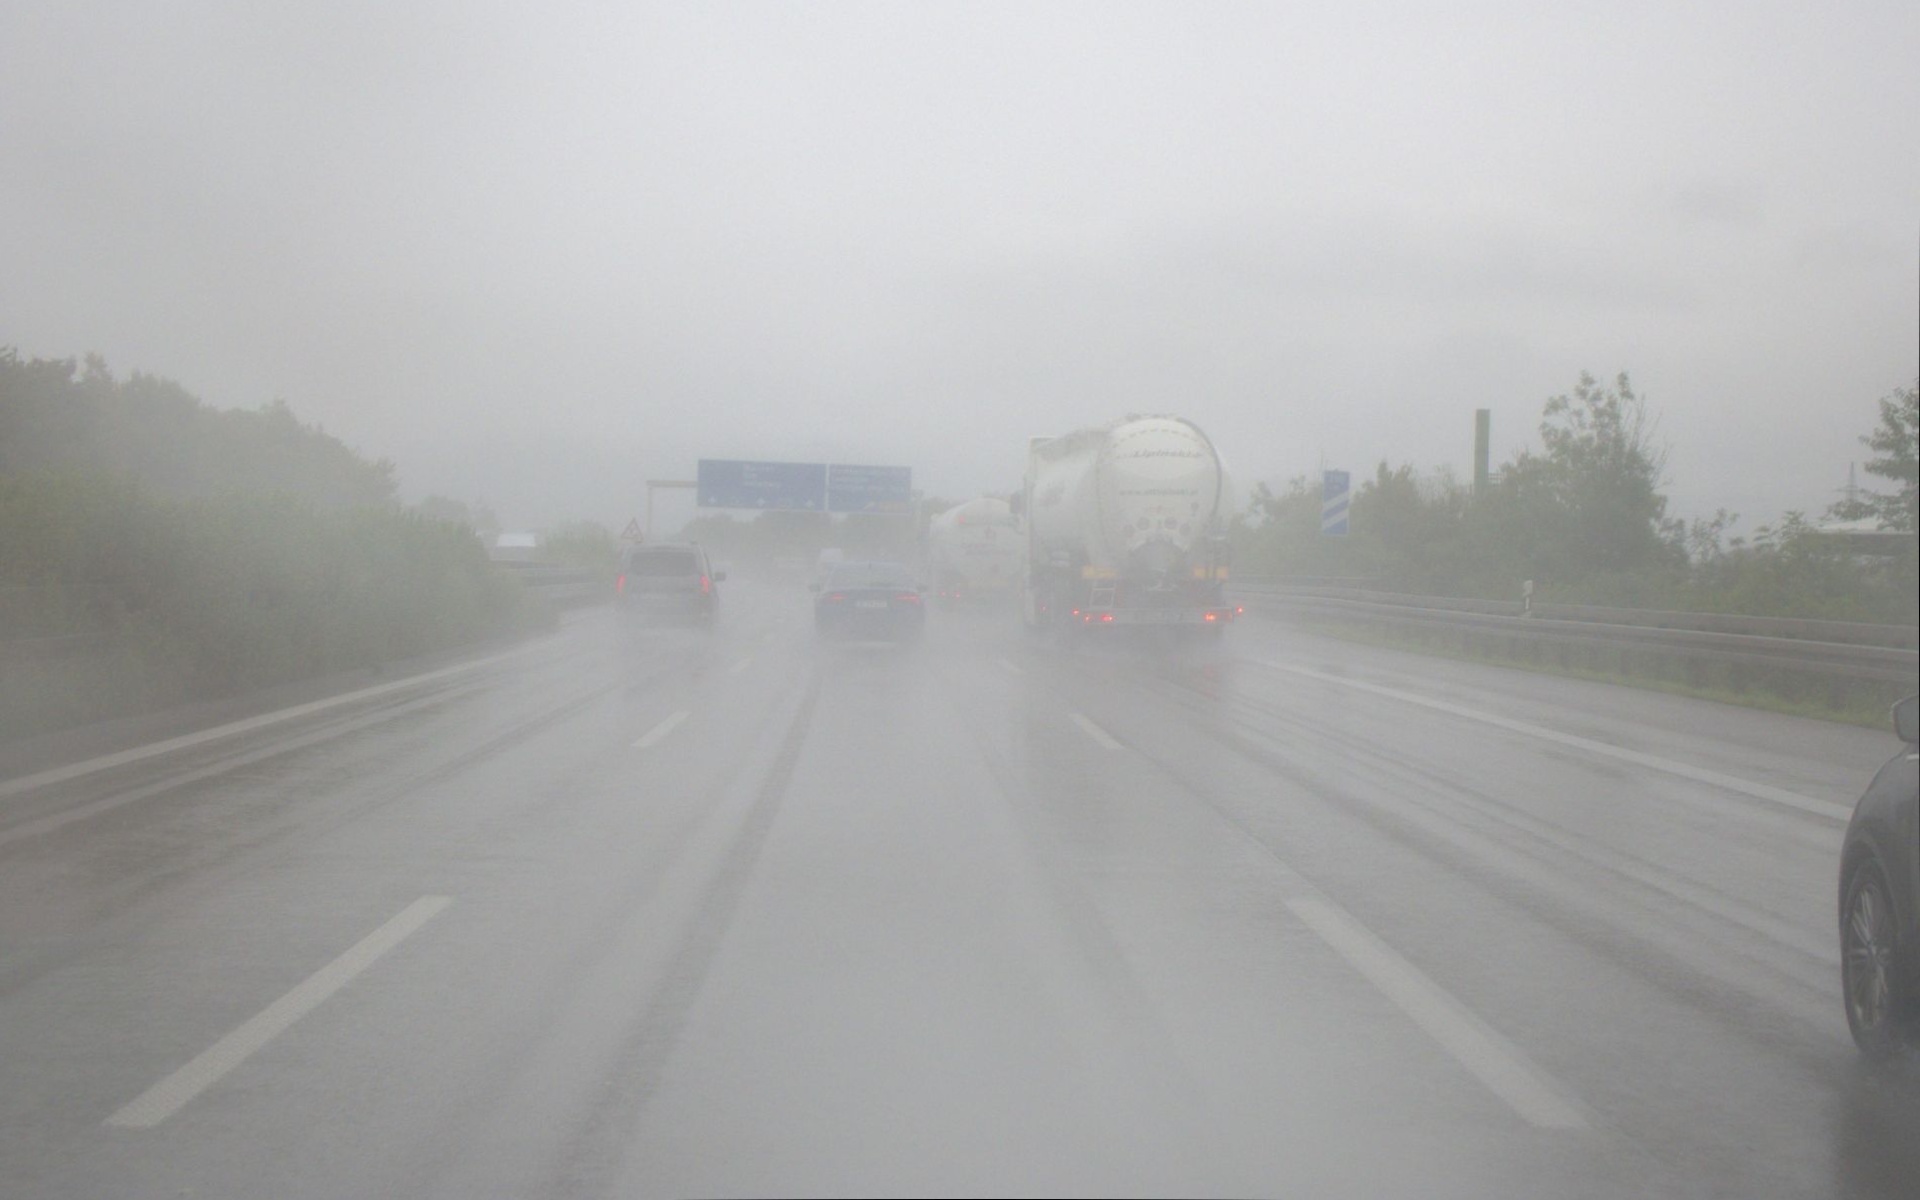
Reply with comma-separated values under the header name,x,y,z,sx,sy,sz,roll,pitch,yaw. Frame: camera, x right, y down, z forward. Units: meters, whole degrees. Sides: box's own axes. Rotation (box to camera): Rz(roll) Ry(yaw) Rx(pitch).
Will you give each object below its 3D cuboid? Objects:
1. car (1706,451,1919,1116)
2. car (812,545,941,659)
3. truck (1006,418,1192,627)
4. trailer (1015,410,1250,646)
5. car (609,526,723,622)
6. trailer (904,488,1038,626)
name,x,y,z,sx,sy,sz,roll,pitch,yaw
car,3.744,0.494,8.826,2.457,1.740,5.719,1,1,1
car,-1.324,-0.002,56.005,1.978,1.750,4.481,0,1,0
truck,2.593,-1.484,66.691,3.104,3.793,7.213,1,1,-1
trailer,2.785,-1.232,59.410,3.188,3.657,11.668,0,1,-1
car,-5.521,-0.510,65.008,1.925,1.735,4.404,1,1,-2
trailer,0.242,-1.306,101.538,3.004,3.834,8.625,1,1,-5
